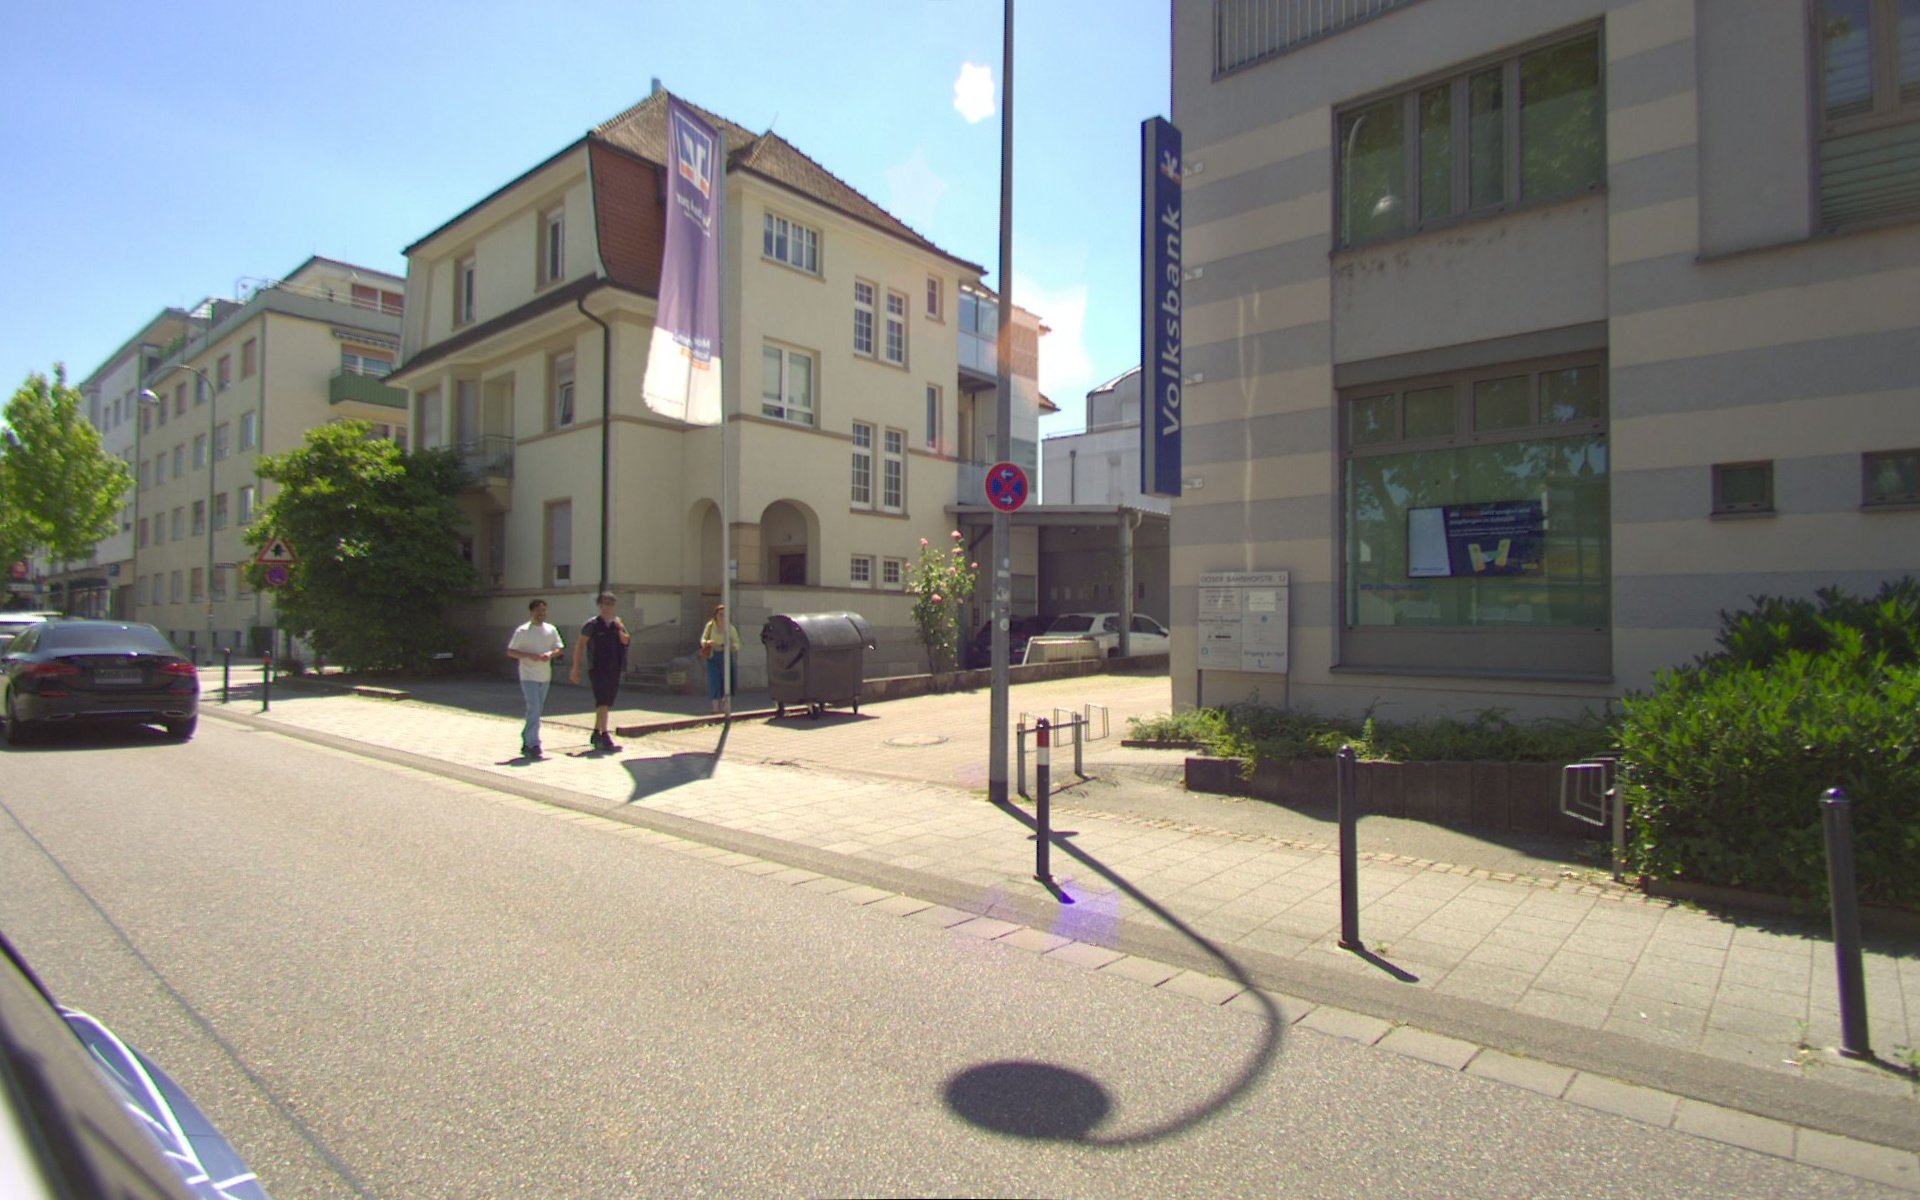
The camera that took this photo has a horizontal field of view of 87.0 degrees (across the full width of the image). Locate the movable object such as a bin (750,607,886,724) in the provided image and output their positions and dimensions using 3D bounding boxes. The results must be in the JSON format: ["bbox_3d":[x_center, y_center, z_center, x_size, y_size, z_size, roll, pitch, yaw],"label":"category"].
[{"bbox_3d":[-2.010,0.881,14.361,1.294,1.499,1.372,-1,1,41],"label":"movable object such as a bin"}]

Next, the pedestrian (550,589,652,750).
[{"bbox_3d":[-4.207,0.785,11.857,0.950,1.784,0.740,-1,-2,40],"label":"pedestrian"}]

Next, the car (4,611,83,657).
[{"bbox_3d":[-35.773,1.279,39.464,4.291,1.683,1.710,-1,-1,40],"label":"car"}]

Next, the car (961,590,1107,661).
[{"bbox_3d":[1.950,0.596,25.659,1.792,1.591,3.829,-1,1,40],"label":"car"}]

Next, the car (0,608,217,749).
[{"bbox_3d":[-11.241,0.916,12.990,4.260,1.522,1.810,-1,-4,41],"label":"car"}]

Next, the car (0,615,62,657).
[{"bbox_3d":[-39.799,1.484,43.169,4.292,1.683,1.709,-1,-1,41],"label":"car"}]

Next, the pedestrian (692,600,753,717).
[{"bbox_3d":[-3.549,0.859,15.102,0.734,1.687,0.534,-1,-2,40],"label":"pedestrian"}]

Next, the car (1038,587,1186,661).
[{"bbox_3d":[3.700,0.513,24.198,1.792,1.591,3.828,-1,0,40],"label":"car"}]

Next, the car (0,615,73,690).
[{"bbox_3d":[-20.885,1.086,22.031,4.029,1.522,1.810,-1,-3,41],"label":"car"}]

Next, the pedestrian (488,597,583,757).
[{"bbox_3d":[-4.718,0.822,11.236,0.903,1.689,0.614,-1,0,40],"label":"pedestrian"}]

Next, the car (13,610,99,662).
[{"bbox_3d":[-31.435,1.216,35.139,4.292,1.683,1.709,-1,-1,41],"label":"car"}]
